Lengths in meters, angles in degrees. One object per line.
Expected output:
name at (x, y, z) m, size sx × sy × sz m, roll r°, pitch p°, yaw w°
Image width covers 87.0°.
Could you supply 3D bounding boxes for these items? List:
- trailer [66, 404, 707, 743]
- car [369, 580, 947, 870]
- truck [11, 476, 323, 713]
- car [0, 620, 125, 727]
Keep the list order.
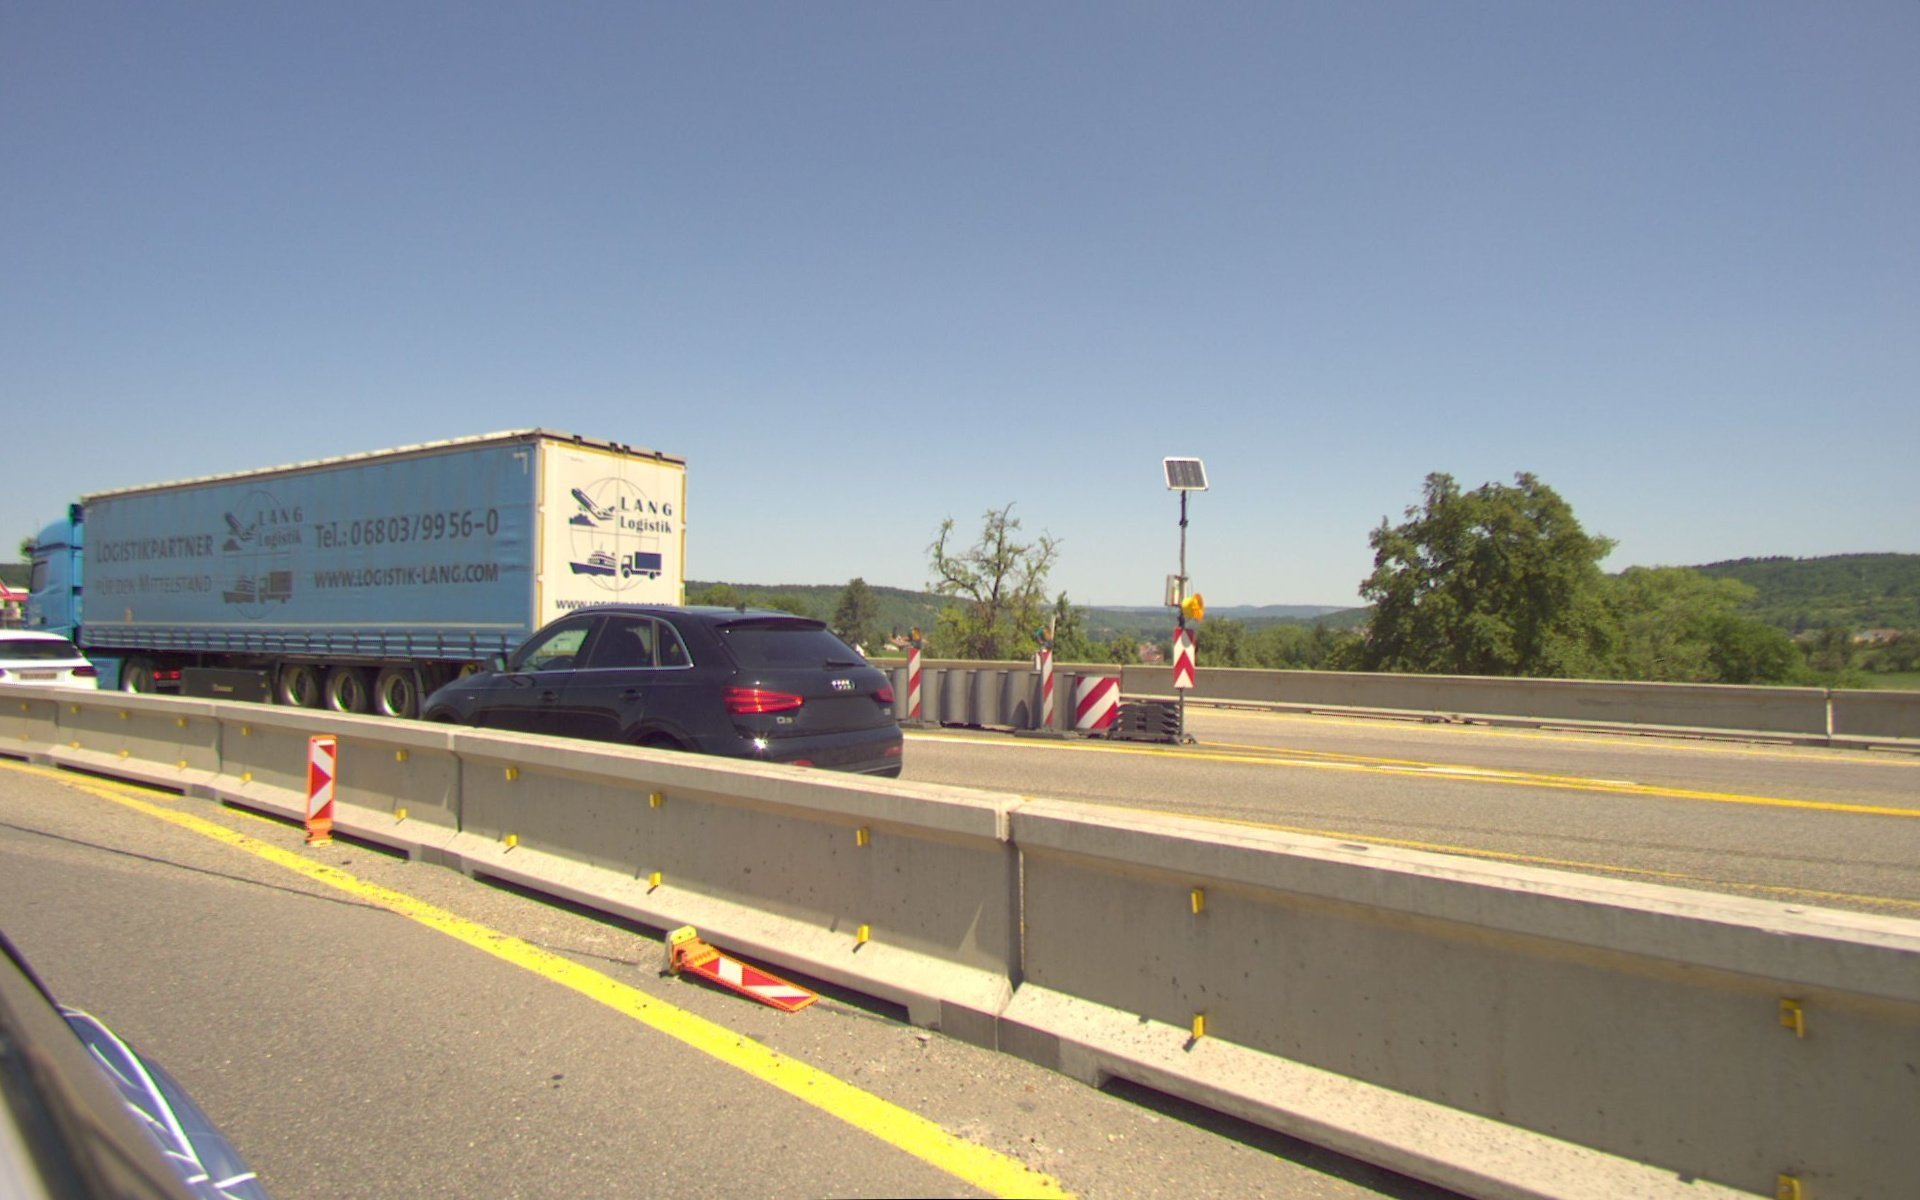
trailer at (-10.410, -0.108, 17.167) m, size 13.861 × 4.160 × 2.894 m, roll -2°, pitch -2°, yaw 30°
car at (-2.500, 0.768, 7.784) m, size 4.700 × 1.620 × 1.752 m, roll -1°, pitch -3°, yaw 36°
truck at (-16.112, 0.015, 20.526) m, size 6.114 × 4.160 × 2.894 m, roll -2°, pitch -2°, yaw 30°
car at (-15.533, 1.142, 16.089) m, size 4.569 × 1.455 × 2.002 m, roll -2°, pitch 1°, yaw 30°
